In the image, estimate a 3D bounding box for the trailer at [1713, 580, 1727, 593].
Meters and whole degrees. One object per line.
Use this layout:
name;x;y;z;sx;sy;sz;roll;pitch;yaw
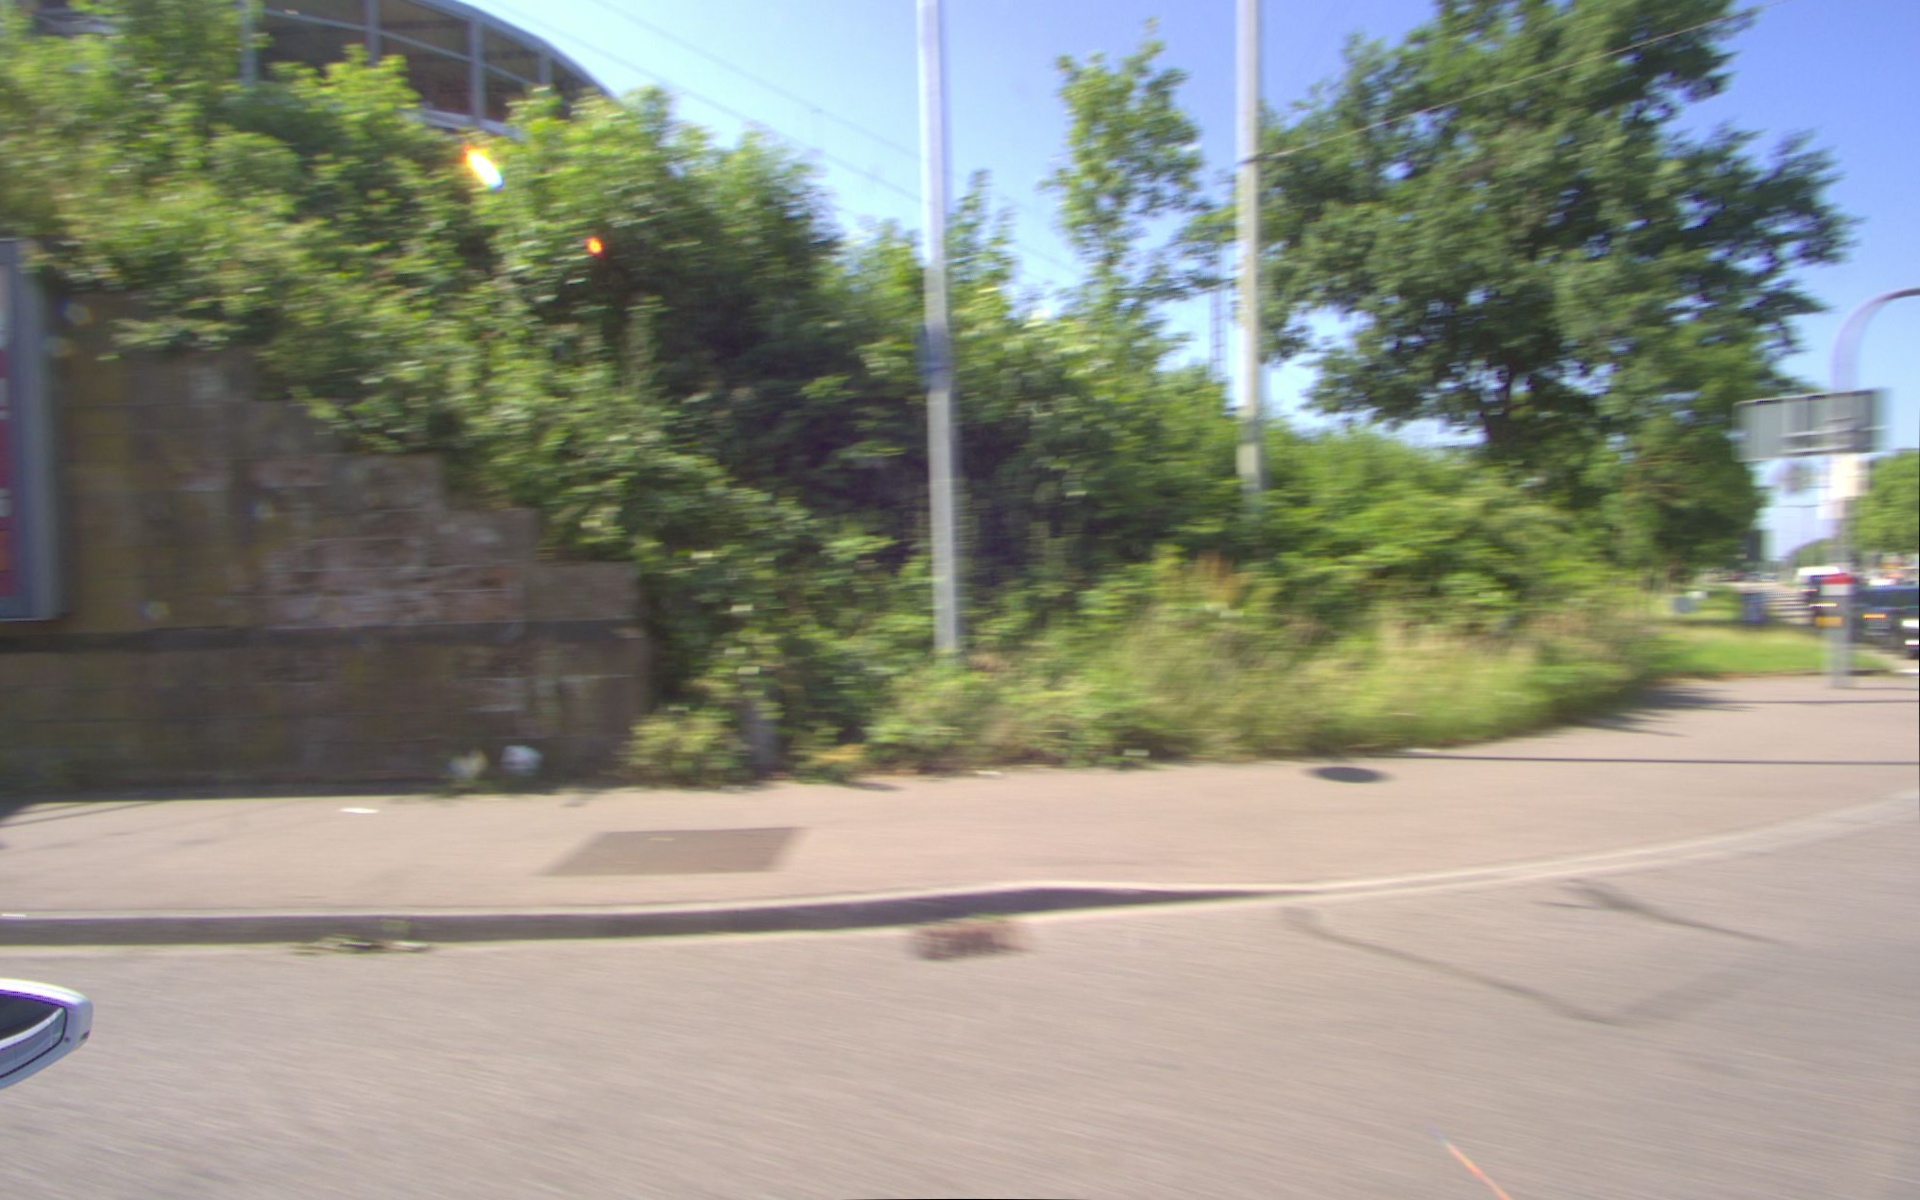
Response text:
trailer;130.947;-2.303;172.506;1.809;2.039;4.084;-1;-2;37

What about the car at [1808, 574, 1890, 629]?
car;32.775;0.118;37.026;1.976;1.883;3.973;-1;-2;38

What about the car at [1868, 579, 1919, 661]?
car;20.196;0.424;20.555;1.976;1.571;3.973;-1;-2;38

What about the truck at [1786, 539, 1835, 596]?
truck;63.715;-2.346;75.122;2.468;3.753;6.566;-1;-2;38

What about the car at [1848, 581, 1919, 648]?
car;23.885;0.402;25.245;1.976;1.571;3.973;-1;-2;38
